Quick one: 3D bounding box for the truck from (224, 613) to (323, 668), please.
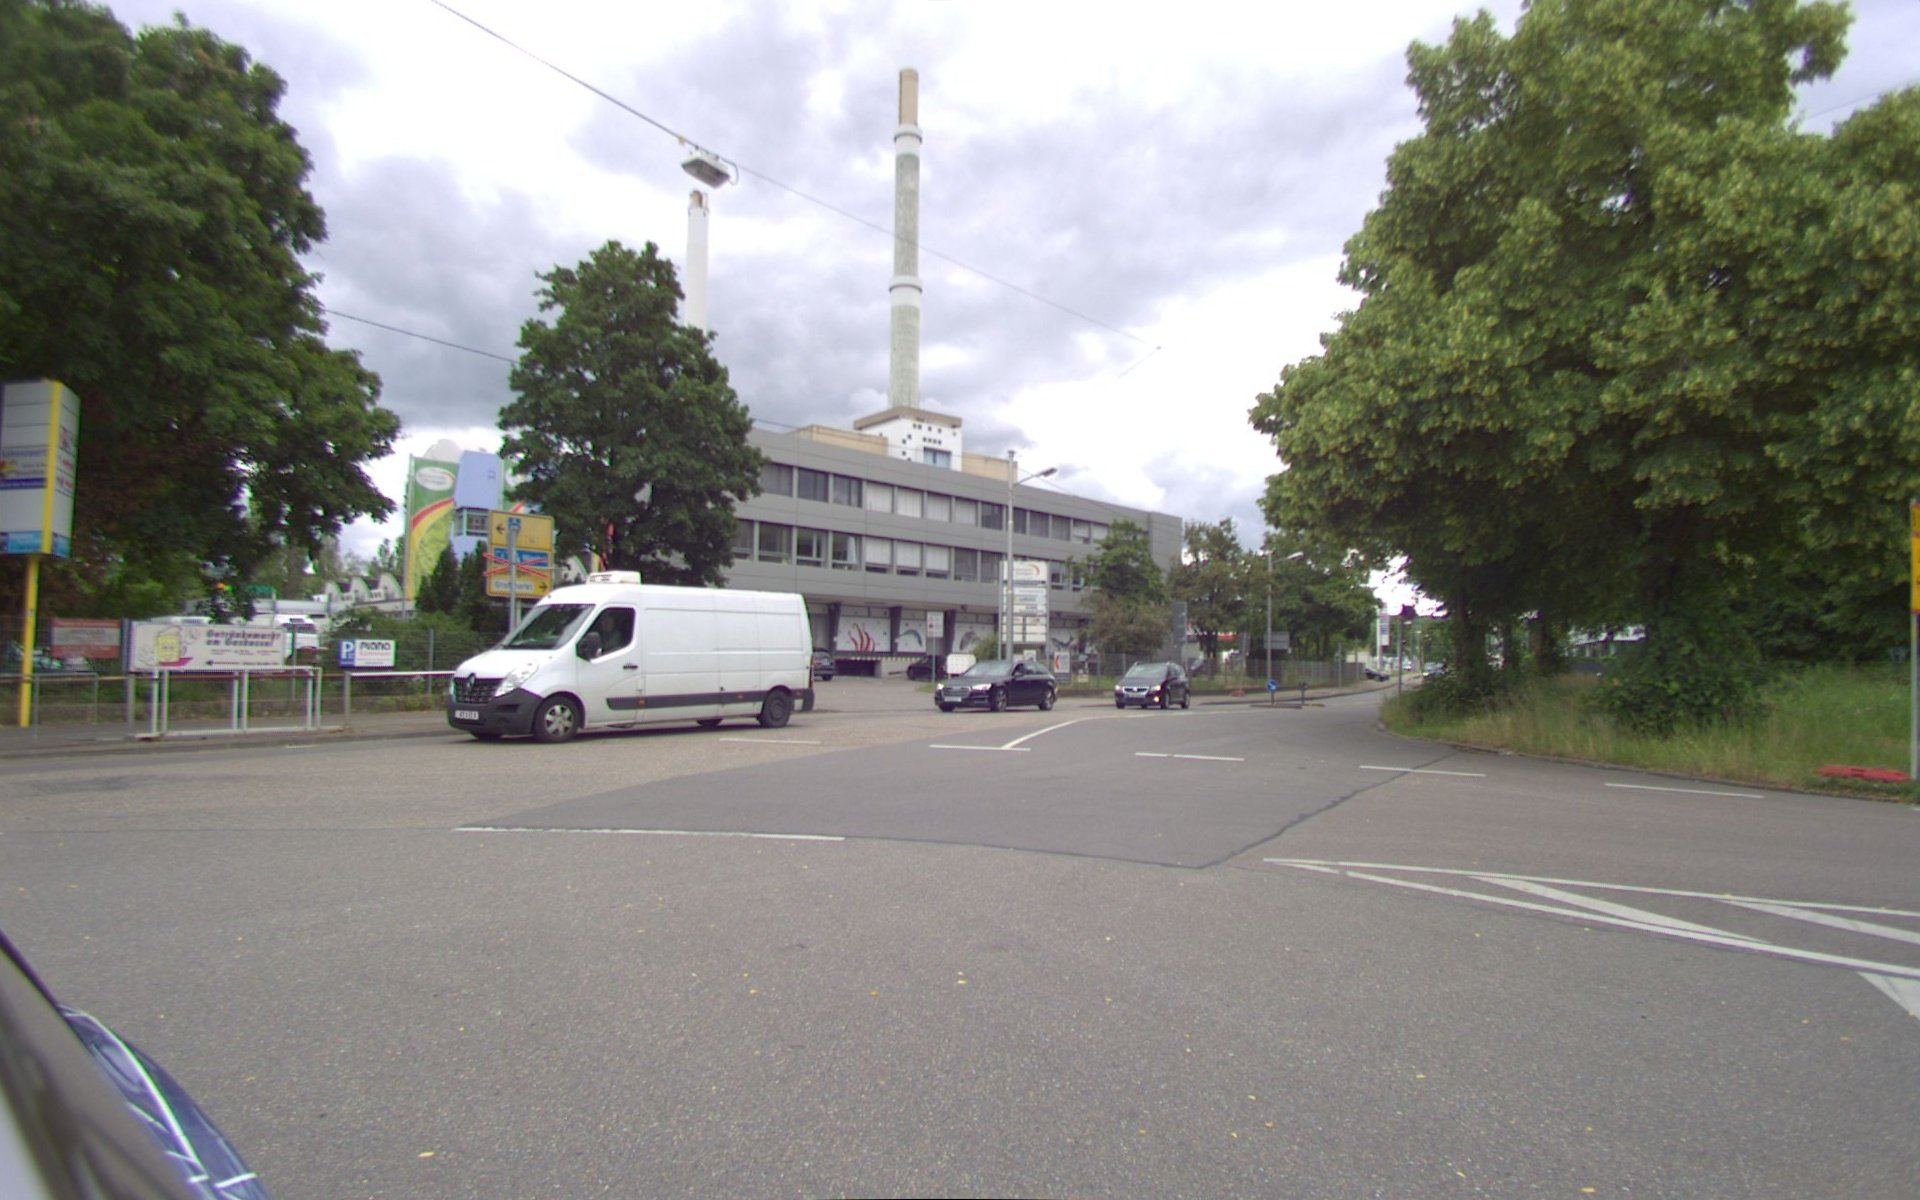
[{"bbox_3d":[-54.084,3.311,79.408,15.727,3.964,2.812,-3,-5,43],"label":"truck"}]

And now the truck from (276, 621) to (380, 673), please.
[{"bbox_3d":[-51.630,3.913,82.348,15.724,3.964,2.812,-3,-5,42],"label":"truck"}]

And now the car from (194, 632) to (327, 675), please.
[{"bbox_3d":[-47.674,3.729,69.163,2.244,2.754,7.050,-3,-6,44],"label":"car"}]

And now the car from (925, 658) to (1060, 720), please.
[{"bbox_3d":[0.974,2.354,27.370,1.858,1.524,4.396,-2,-4,29],"label":"car"}]

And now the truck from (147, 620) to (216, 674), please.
[{"bbox_3d":[-63.415,3.883,82.382,9.191,4.198,2.956,-3,-5,44],"label":"truck"}]

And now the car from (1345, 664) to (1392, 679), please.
[{"bbox_3d":[53.366,9.361,132.212,5.435,1.884,2.009,-2,-4,26],"label":"car"}]

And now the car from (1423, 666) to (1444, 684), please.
[{"bbox_3d":[46.764,7.387,99.981,1.786,1.653,4.403,-2,-4,25],"label":"car"}]

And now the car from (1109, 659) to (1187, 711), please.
[{"bbox_3d":[6.523,2.882,34.752,1.784,1.653,4.407,-1,-4,22],"label":"car"}]

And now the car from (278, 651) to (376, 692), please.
[{"bbox_3d":[-20.621,2.321,32.942,3.700,1.258,1.686,-3,-5,41],"label":"car"}]

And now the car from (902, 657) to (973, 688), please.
[{"bbox_3d":[-1.293,3.941,55.467,2.015,1.456,4.844,2,-2,-27],"label":"car"}]

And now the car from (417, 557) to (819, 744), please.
[{"bbox_3d":[-5.241,0.880,16.612,2.384,2.478,6.028,-3,-5,34],"label":"car"}]
